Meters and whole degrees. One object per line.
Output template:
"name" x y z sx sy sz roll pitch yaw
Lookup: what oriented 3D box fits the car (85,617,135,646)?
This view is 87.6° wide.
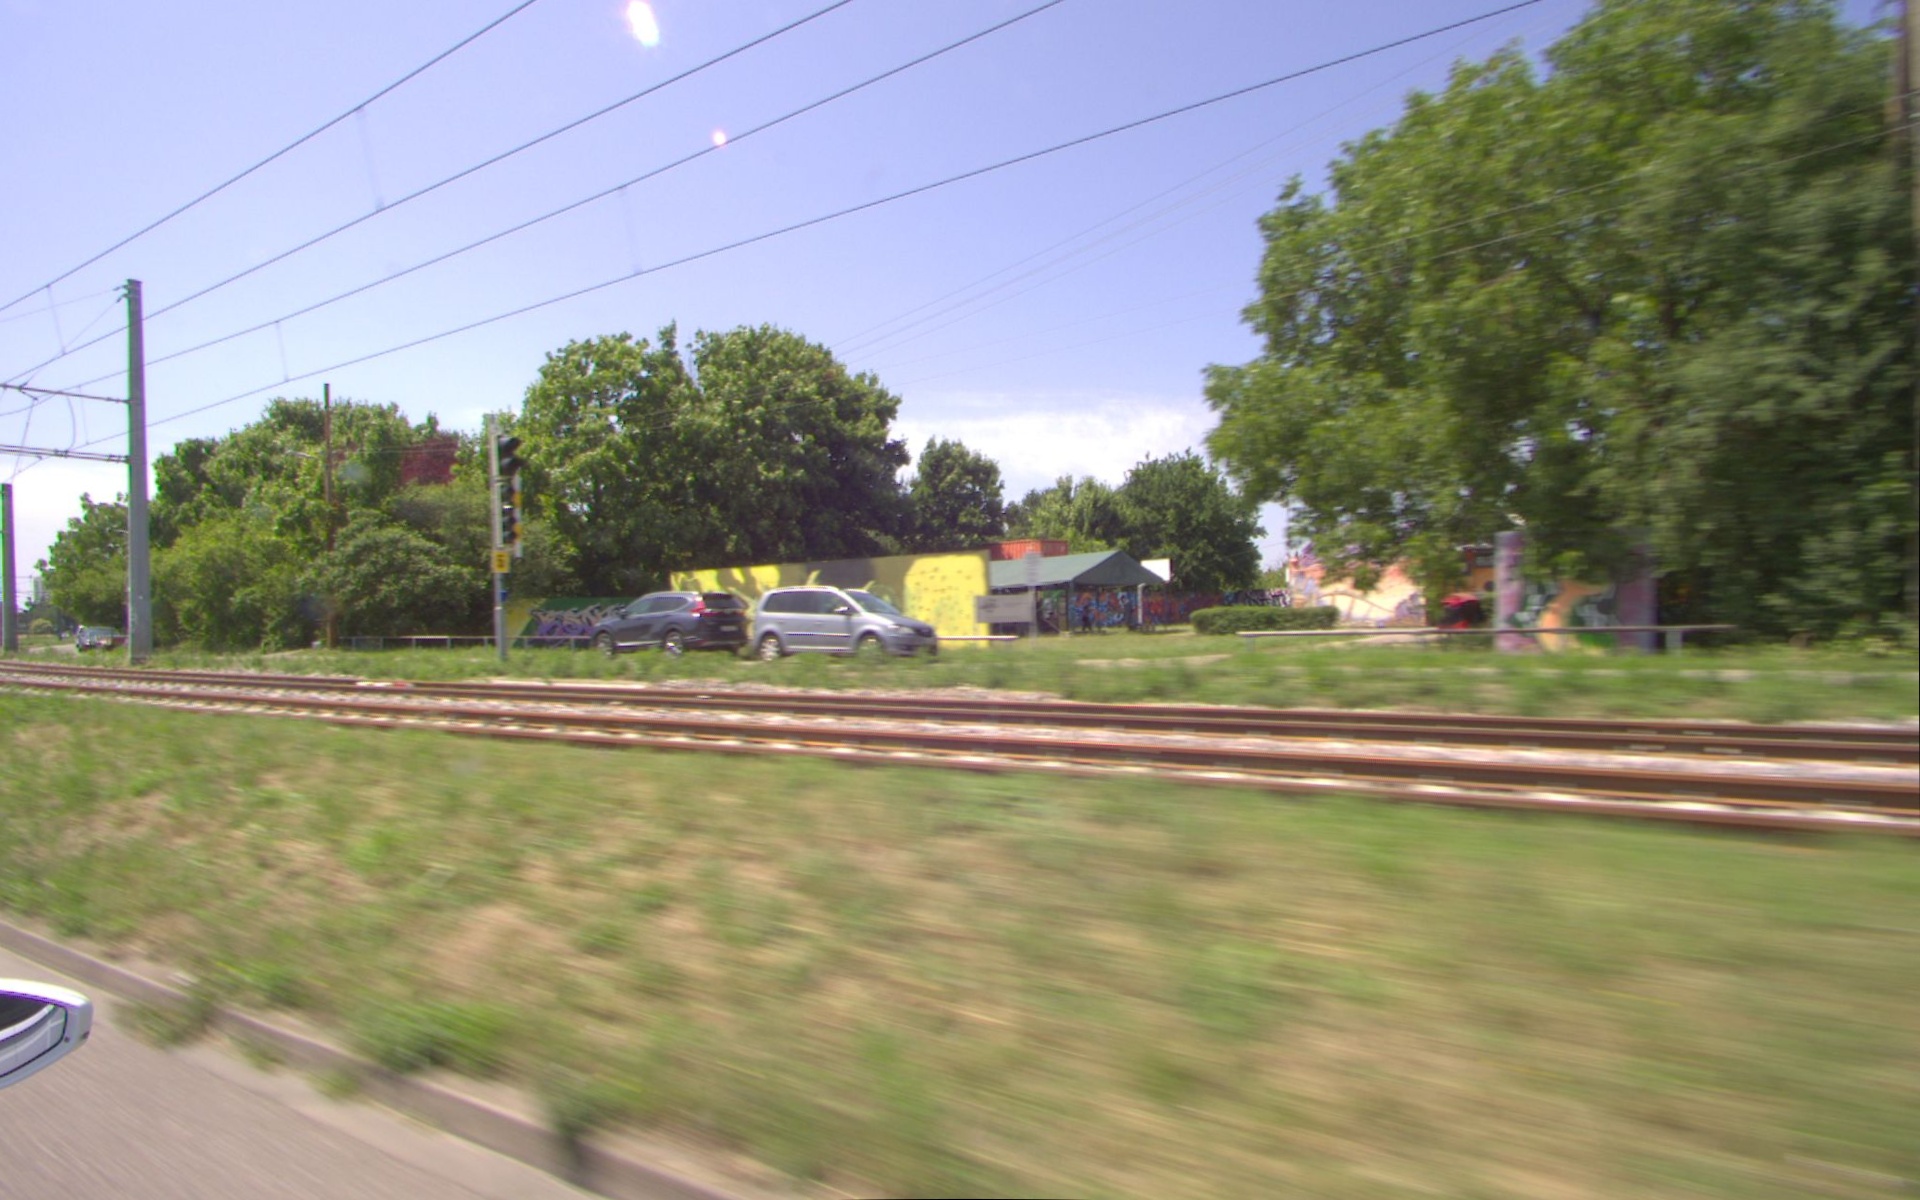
"car" -47.970 1.791 56.469 1.785 1.444 4.694 -1 -1 -45

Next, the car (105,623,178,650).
"car" -39.940 1.783 48.826 3.616 1.186 1.641 -3 -1 31

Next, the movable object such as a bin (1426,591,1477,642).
"movable object such as a bin" 16.034 0.544 32.643 1.237 1.593 0.911 -3 -1 44

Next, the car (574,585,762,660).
"car" -7.342 0.598 25.010 4.749 1.678 1.823 -3 -1 33

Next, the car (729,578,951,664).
"car" -2.626 0.483 21.474 4.642 1.645 1.674 -3 -1 30

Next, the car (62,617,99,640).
"car" -80.922 2.629 92.182 2.016 1.906 5.036 -1 -1 -35
